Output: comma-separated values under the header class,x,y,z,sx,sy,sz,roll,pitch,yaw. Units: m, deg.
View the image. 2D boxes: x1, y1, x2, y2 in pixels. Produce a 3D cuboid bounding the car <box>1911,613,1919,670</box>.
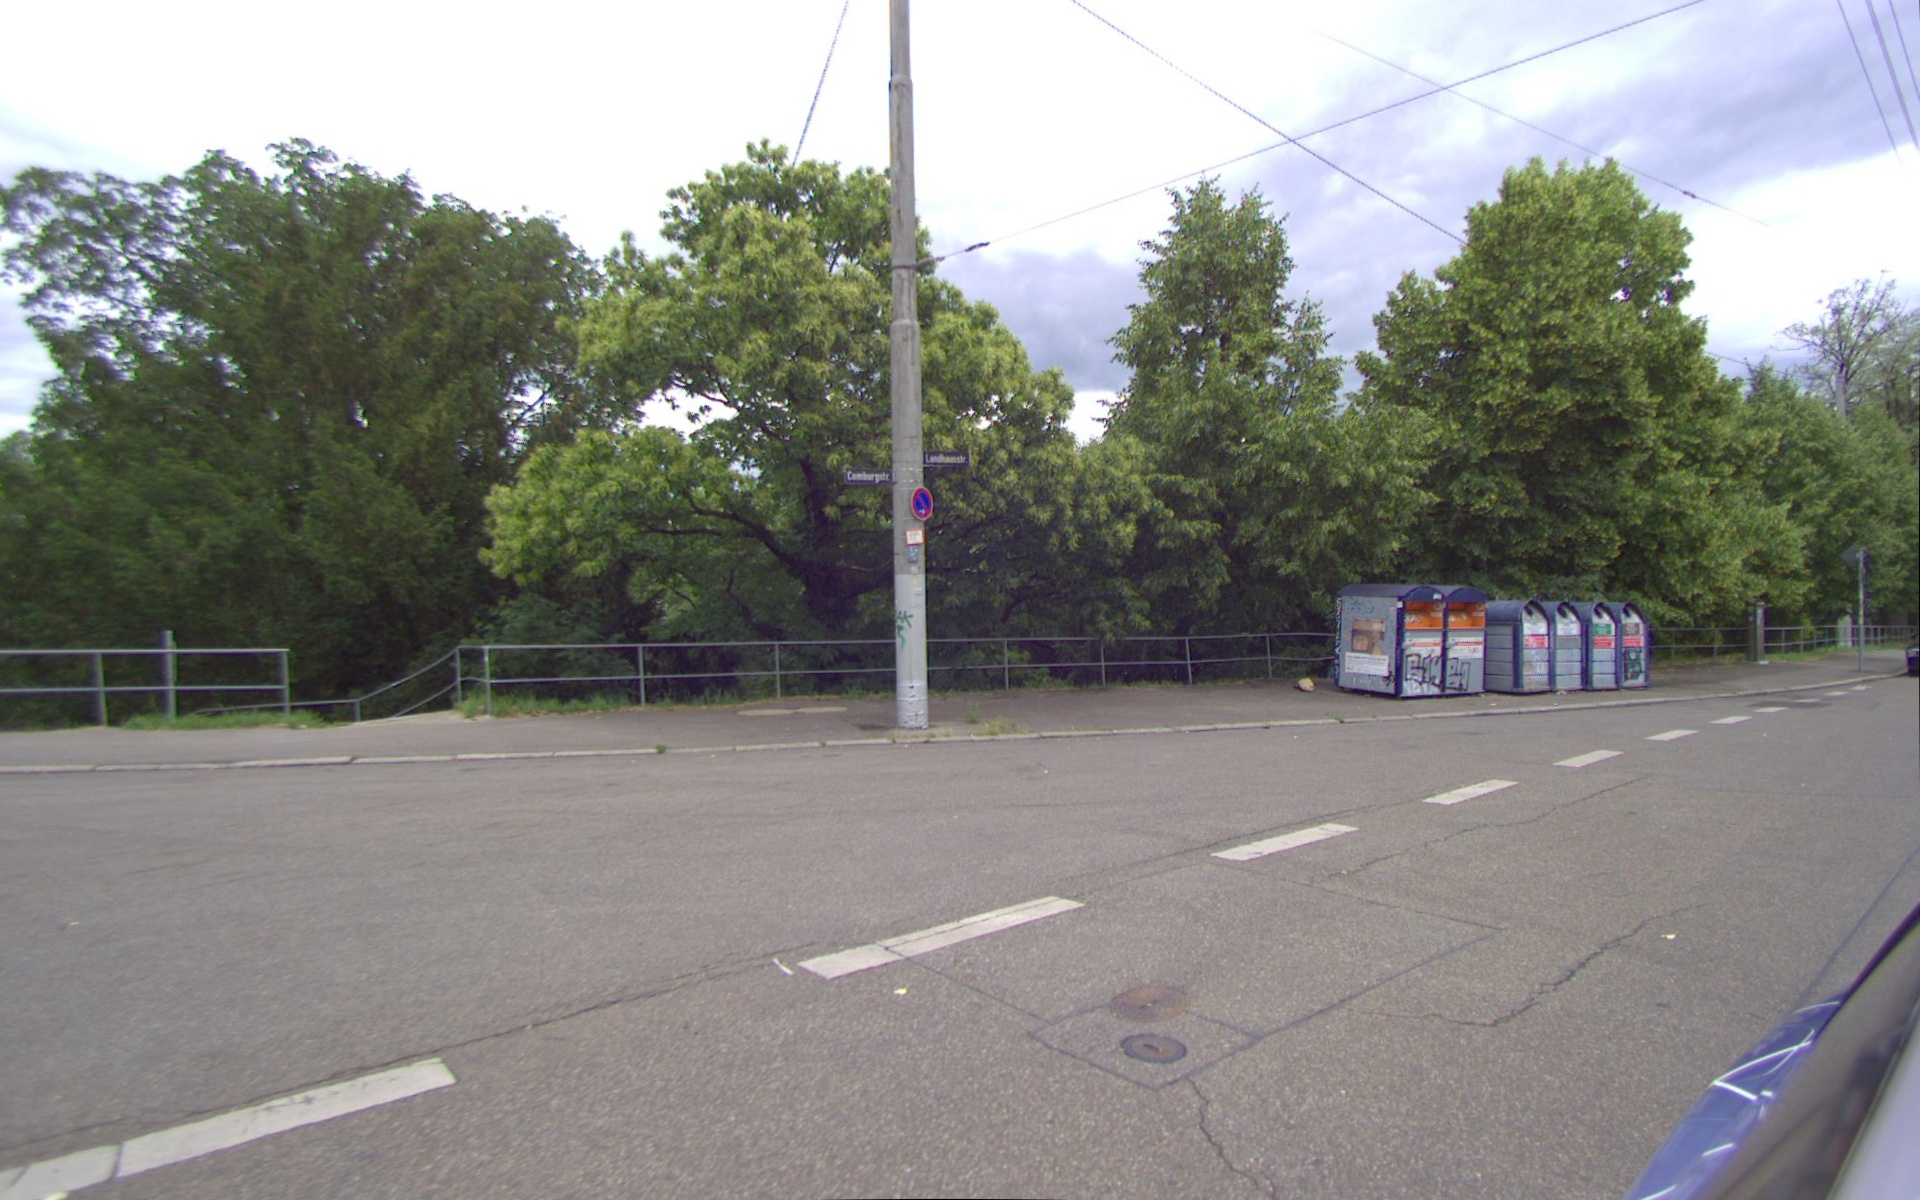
class,x,y,z,sx,sy,sz,roll,pitch,yaw
car,26.607,1.029,26.566,4.310,1.461,1.861,0,-3,-40
